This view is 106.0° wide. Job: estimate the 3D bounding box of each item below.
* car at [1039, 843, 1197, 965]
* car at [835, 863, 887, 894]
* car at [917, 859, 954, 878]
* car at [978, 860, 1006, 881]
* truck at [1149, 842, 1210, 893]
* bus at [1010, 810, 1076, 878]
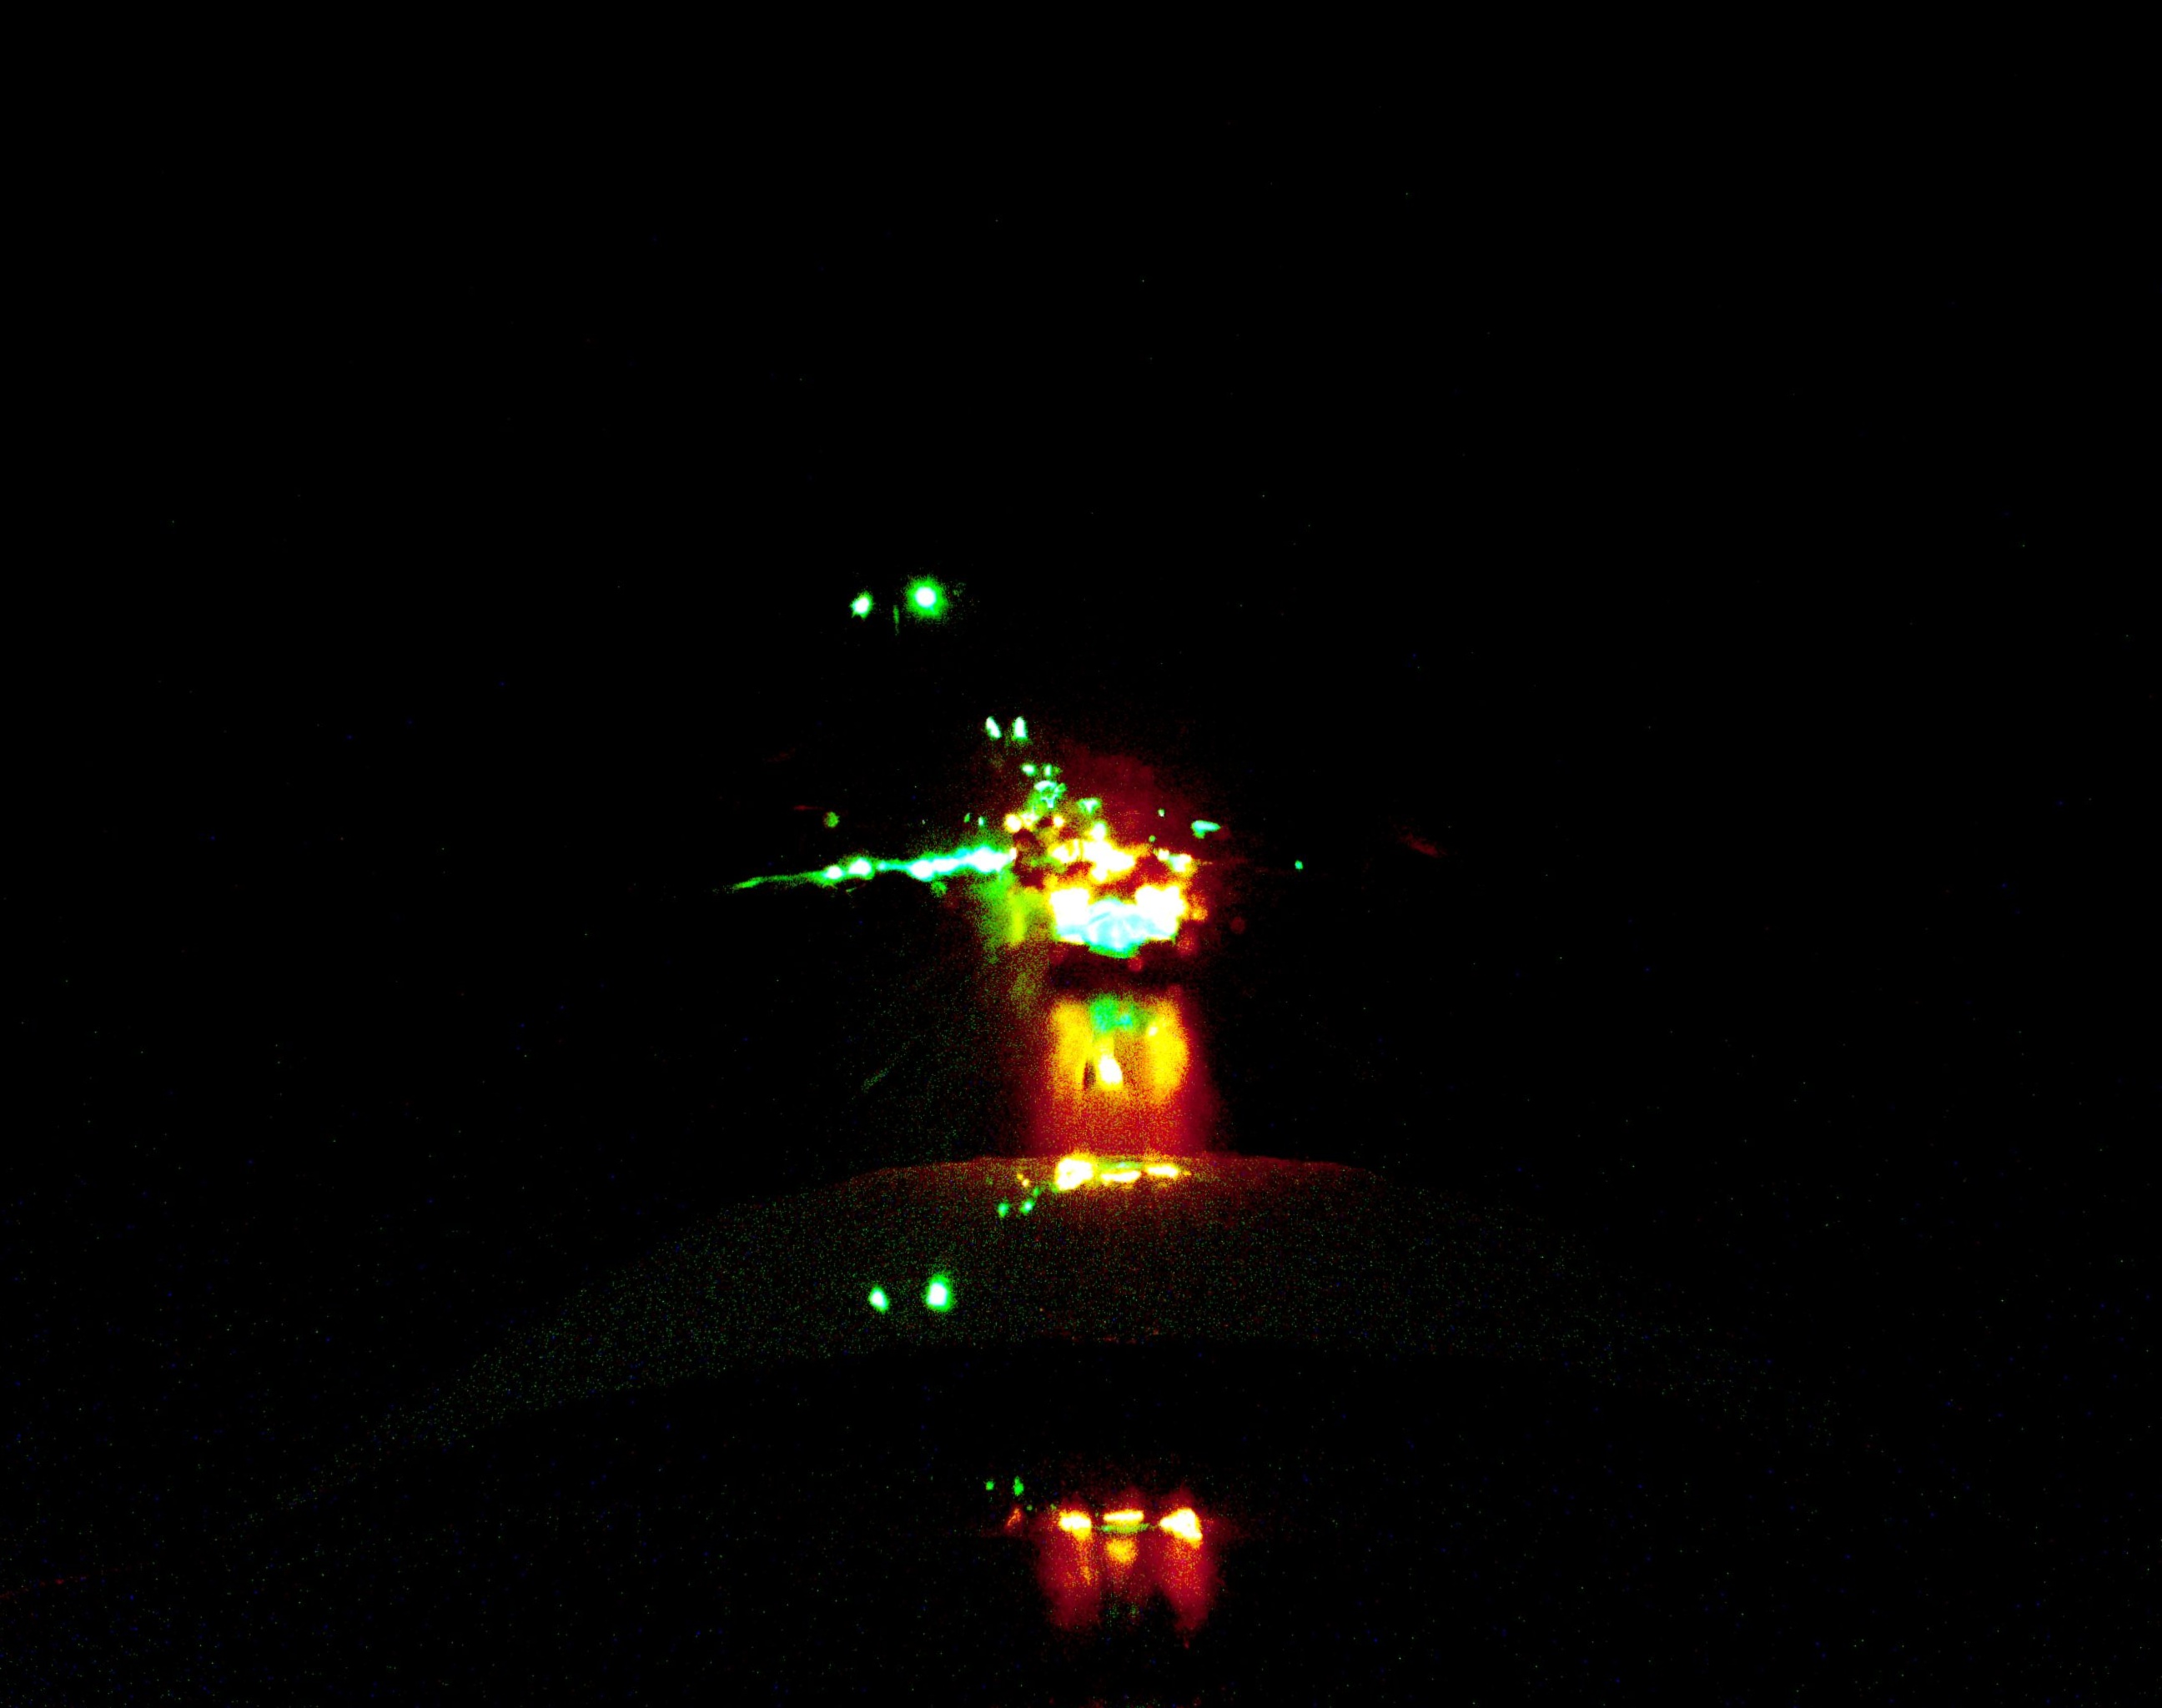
[{"bbox_3d":[0.579,0.624,11.888,1.935,1.491,3.720,0,0,4],"label":"car"},{"bbox_3d":[-11.766,1.283,43.872,1.594,1.552,3.835,1,-1,2],"label":"car"},{"bbox_3d":[-11.935,1.186,67.101,2.016,1.502,4.898,1,-1,1],"label":"car"},{"bbox_3d":[-8.002,1.464,73.442,1.987,1.774,4.704,1,-1,0],"label":"car"},{"bbox_3d":[5.543,0.745,45.142,3.052,2.528,7.183,1,-1,8],"label":"truck"},{"bbox_3d":[-1.801,-0.508,42.513,2.734,3.123,9.204,1,1,1],"label":"bus"}]
